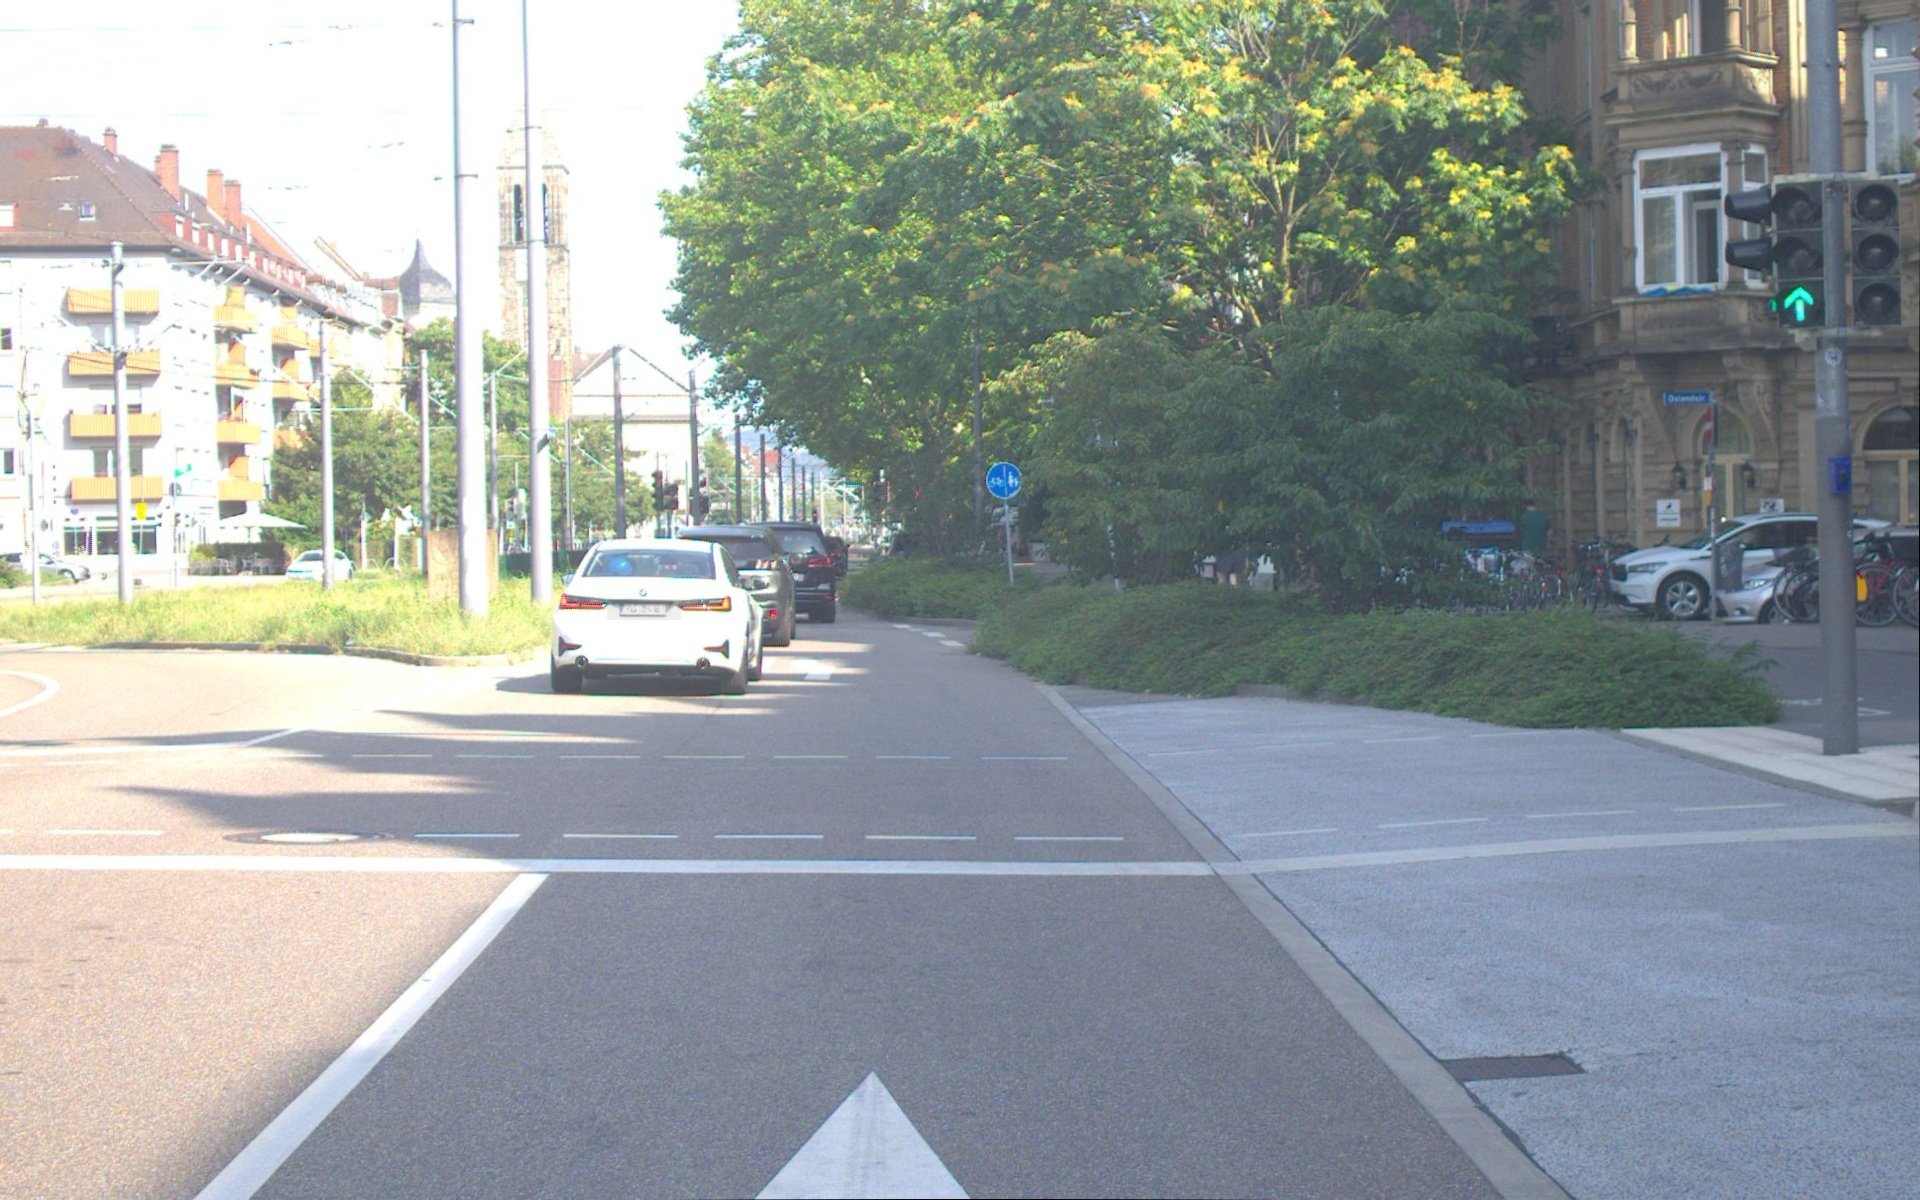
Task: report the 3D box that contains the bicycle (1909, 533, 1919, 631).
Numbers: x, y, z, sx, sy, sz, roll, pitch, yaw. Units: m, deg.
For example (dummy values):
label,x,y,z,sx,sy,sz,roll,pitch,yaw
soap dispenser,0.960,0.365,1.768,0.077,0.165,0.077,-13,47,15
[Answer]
label,x,y,z,sx,sy,sz,roll,pitch,yaw
bicycle,11.244,-0.217,36.997,1.927,1.044,0.500,-1,1,-6

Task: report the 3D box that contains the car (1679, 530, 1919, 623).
label,x,y,z,sx,sy,sz,roll,pitch,yaw
car,12.266,-0.346,48.272,3.936,1.218,1.548,-1,1,-5

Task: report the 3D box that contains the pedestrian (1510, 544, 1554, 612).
label,x,y,z,sx,sy,sz,roll,pitch,yaw
pedestrian,8.989,-0.347,54.034,0.443,1.067,0.487,-2,1,-31

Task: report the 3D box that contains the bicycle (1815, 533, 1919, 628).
label,x,y,z,sx,sy,sz,roll,pitch,yaw
bicycle,10.775,-0.232,39.151,1.927,1.044,0.527,-1,1,-6

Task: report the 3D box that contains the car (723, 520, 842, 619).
label,x,y,z,sx,sy,sz,roll,pitch,yaw
car,-2.995,-0.546,58.751,1.831,1.615,4.357,0,1,-1

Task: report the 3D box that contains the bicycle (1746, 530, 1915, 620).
label,x,y,z,sx,sy,sz,roll,pitch,yaw
bicycle,10.647,-0.309,42.070,1.927,1.044,0.527,-1,1,-6

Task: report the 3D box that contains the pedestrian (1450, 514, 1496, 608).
label,x,y,z,sx,sy,sz,roll,pitch,yaw
pedestrian,7.992,-0.611,53.541,0.573,1.449,0.731,-1,1,0

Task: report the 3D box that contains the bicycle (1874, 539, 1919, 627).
label,x,y,z,sx,sy,sz,roll,pitch,yaw
bicycle,11.071,-0.205,37.777,1.927,0.947,0.500,-1,1,-6

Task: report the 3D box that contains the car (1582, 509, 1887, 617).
label,x,y,z,sx,sy,sz,roll,pitch,yaw
car,11.996,-0.584,53.421,4.179,1.558,2.000,-1,1,-5

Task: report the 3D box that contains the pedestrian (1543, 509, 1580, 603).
label,x,y,z,sx,sy,sz,roll,pitch,yaw
pedestrian,9.741,-0.718,55.673,0.443,1.501,0.487,-1,1,-6

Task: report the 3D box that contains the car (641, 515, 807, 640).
label,x,y,z,sx,sy,sz,roll,pitch,yaw
car,-3.170,-0.348,46.981,1.993,1.615,4.357,0,1,-1

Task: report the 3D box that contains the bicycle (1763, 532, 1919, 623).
label,x,y,z,sx,sy,sz,roll,pitch,yaw
bicycle,10.691,-0.281,41.353,1.927,1.044,0.527,-1,1,-6

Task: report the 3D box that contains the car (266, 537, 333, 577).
label,x,y,z,sx,sy,sz,roll,pitch,yaw
car,-25.712,-1.685,133.903,1.993,1.495,4.001,-1,1,-3

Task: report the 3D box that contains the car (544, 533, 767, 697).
label,x,y,z,sx,sy,sz,roll,pitch,yaw
car,-2.885,0.090,33.454,1.809,1.422,4.775,1,1,-1

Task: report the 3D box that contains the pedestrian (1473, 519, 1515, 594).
label,x,y,z,sx,sy,sz,roll,pitch,yaw
pedestrian,8.960,-0.732,57.657,0.597,1.244,0.507,-1,1,-1
